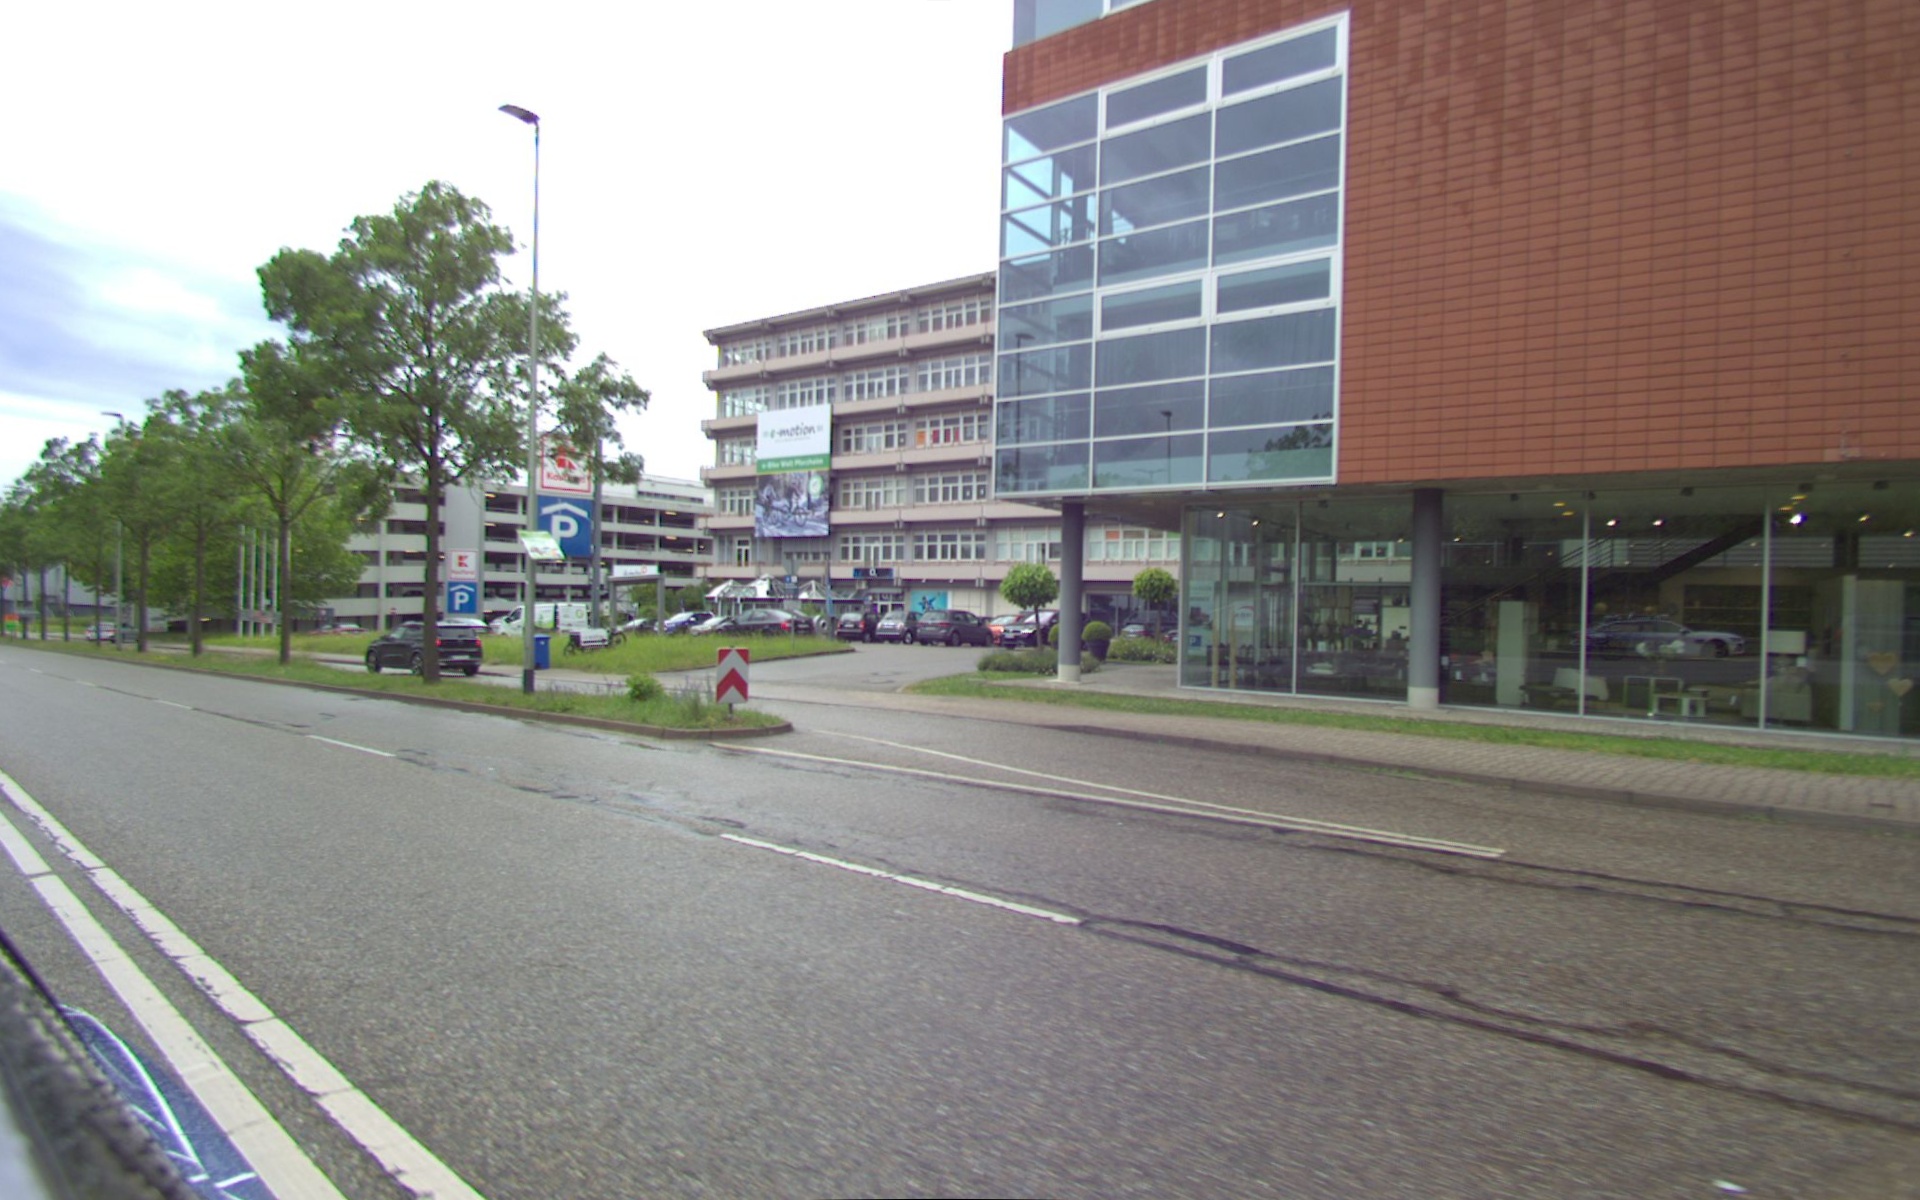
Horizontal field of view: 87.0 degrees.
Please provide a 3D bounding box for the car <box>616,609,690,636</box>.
[{"bbox_3d":[-18.860,1.388,62.212,1.833,1.630,4.008,-1,-2,40],"label":"car"}]

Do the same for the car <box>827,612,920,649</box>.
[{"bbox_3d":[-3.934,1.395,46.683,1.832,1.630,4.382,-1,-2,38],"label":"car"}]

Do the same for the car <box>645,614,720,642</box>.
[{"bbox_3d":[-16.576,1.690,60.583,1.833,1.630,4.008,-1,-2,40],"label":"car"}]

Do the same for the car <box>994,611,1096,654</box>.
[{"bbox_3d":[3.483,1.294,40.898,1.834,1.630,4.376,-1,-2,43],"label":"car"}]

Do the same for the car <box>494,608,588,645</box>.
[{"bbox_3d":[-19.284,1.199,46.519,4.427,1.630,1.813,-1,-2,34],"label":"car"}]

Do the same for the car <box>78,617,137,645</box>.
[{"bbox_3d":[-58.675,2.123,69.735,1.819,1.864,4.013,1,-2,-20],"label":"car"}]

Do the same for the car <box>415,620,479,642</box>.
[{"bbox_3d":[-39.471,2.381,77.896,1.831,1.630,4.011,-1,-2,37],"label":"car"}]

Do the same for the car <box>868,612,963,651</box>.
[{"bbox_3d":[-1.942,1.384,45.185,1.832,1.630,4.382,-1,-2,38],"label":"car"}]

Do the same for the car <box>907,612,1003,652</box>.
[{"bbox_3d":[-0.142,1.346,43.493,1.832,1.630,4.382,-1,-2,38],"label":"car"}]

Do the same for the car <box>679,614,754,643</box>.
[{"bbox_3d":[-14.298,1.681,59.664,1.833,1.630,4.008,-1,-2,40],"label":"car"}]

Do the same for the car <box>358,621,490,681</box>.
[{"bbox_3d":[-16.083,1.491,30.344,3.989,1.630,1.813,-1,0,33],"label":"car"}]

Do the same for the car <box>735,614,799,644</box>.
[{"bbox_3d":[-9.719,1.439,50.874,3.497,1.433,1.420,-1,-2,44],"label":"car"}]

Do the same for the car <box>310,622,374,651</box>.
[{"bbox_3d":[-35.432,2.067,58.011,4.058,1.630,1.811,-1,-2,38],"label":"car"}]

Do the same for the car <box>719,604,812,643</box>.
[{"bbox_3d":[-7.066,0.819,36.544,3.448,1.293,1.490,0,0,41],"label":"car"}]

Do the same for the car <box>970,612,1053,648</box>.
[{"bbox_3d":[2.487,1.424,47.876,1.833,1.630,4.138,-1,-2,40],"label":"car"}]
